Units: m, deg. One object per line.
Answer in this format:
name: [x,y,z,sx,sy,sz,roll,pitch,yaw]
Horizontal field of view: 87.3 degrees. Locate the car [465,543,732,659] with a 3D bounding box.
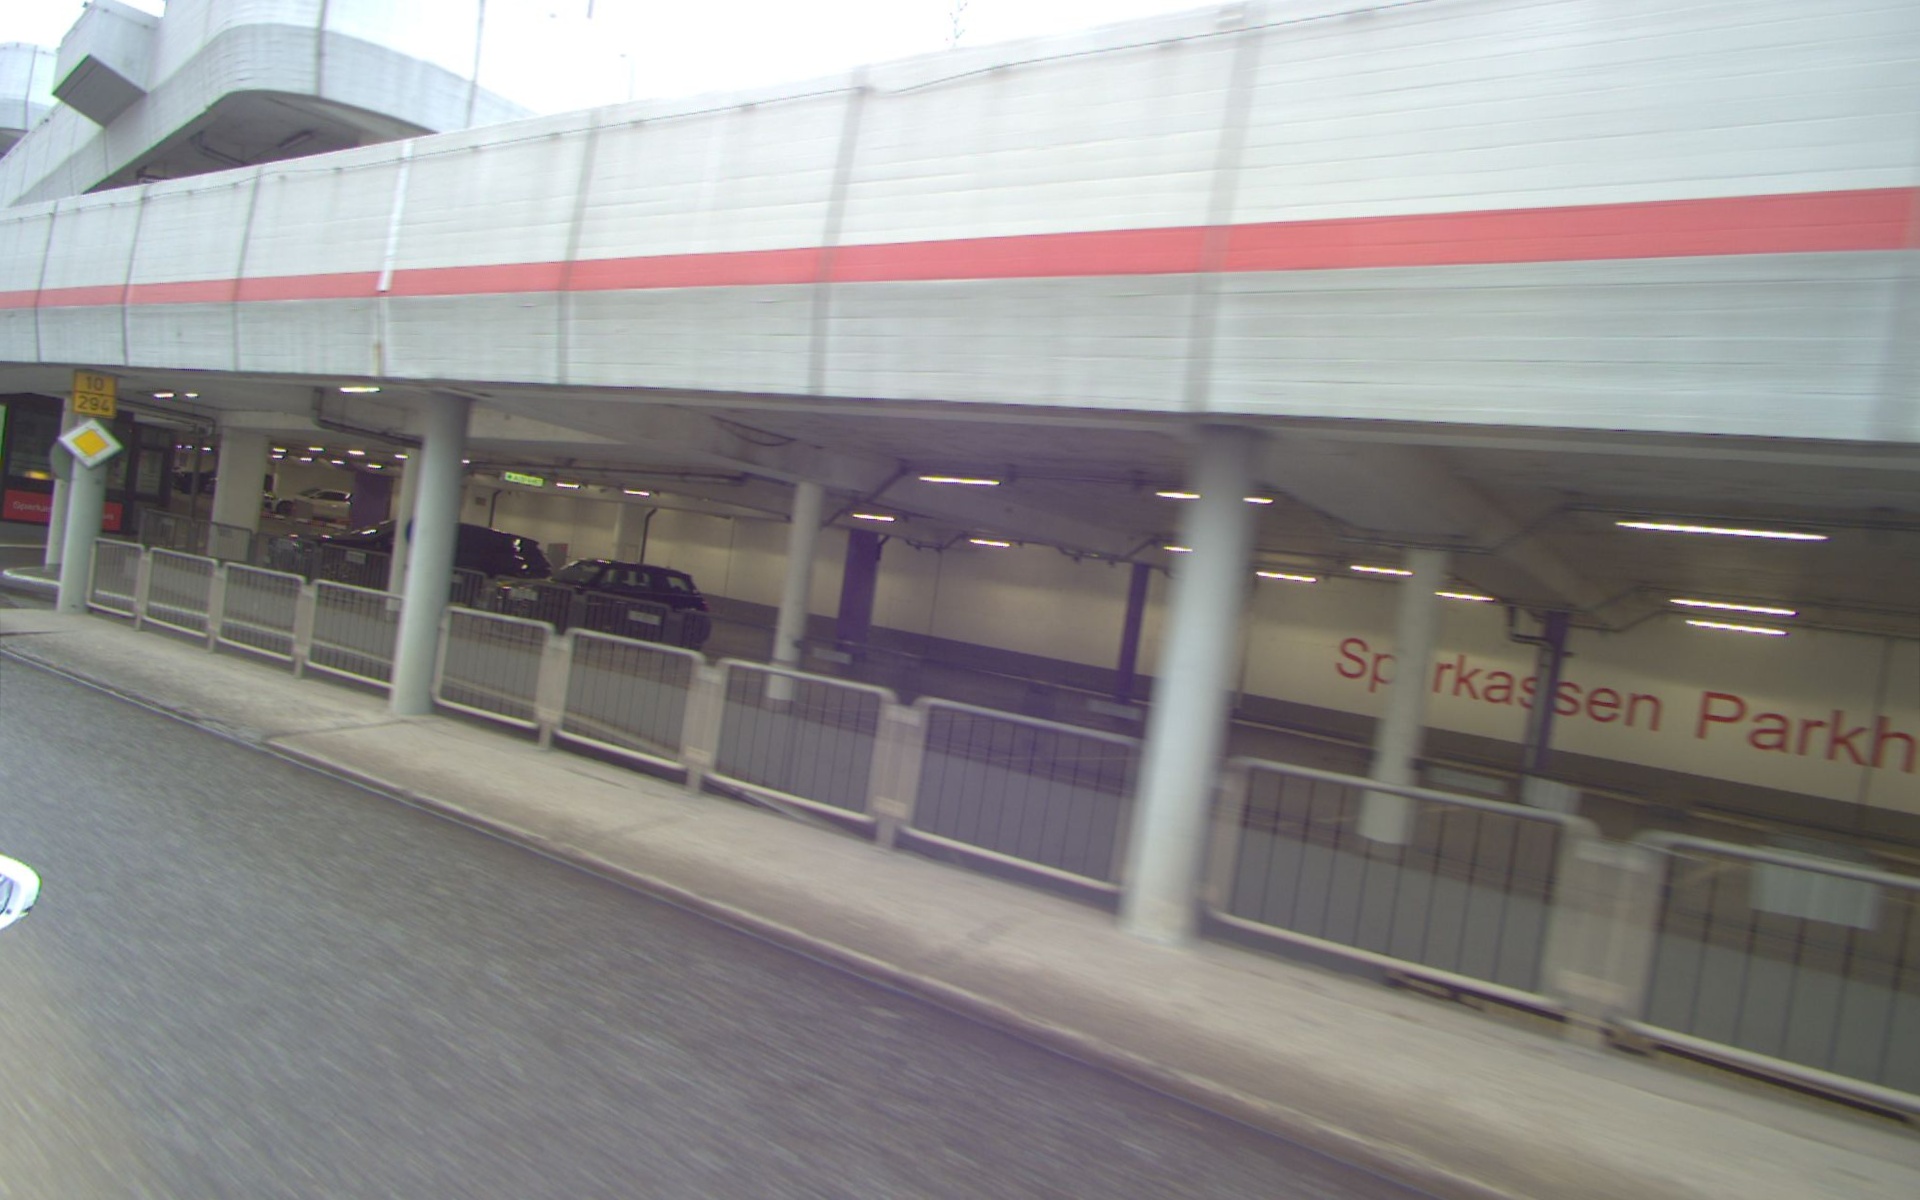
car: [-5.938,0.065,16.841,1.781,1.524,3.717,8,2,40]

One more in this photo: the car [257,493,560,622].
car: [-10.229,-0.723,18.942,1.798,1.658,4.569,6,-3,44]

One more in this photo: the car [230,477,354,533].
car: [-28.902,-4.089,43.590,1.973,1.658,3.984,6,-3,42]
